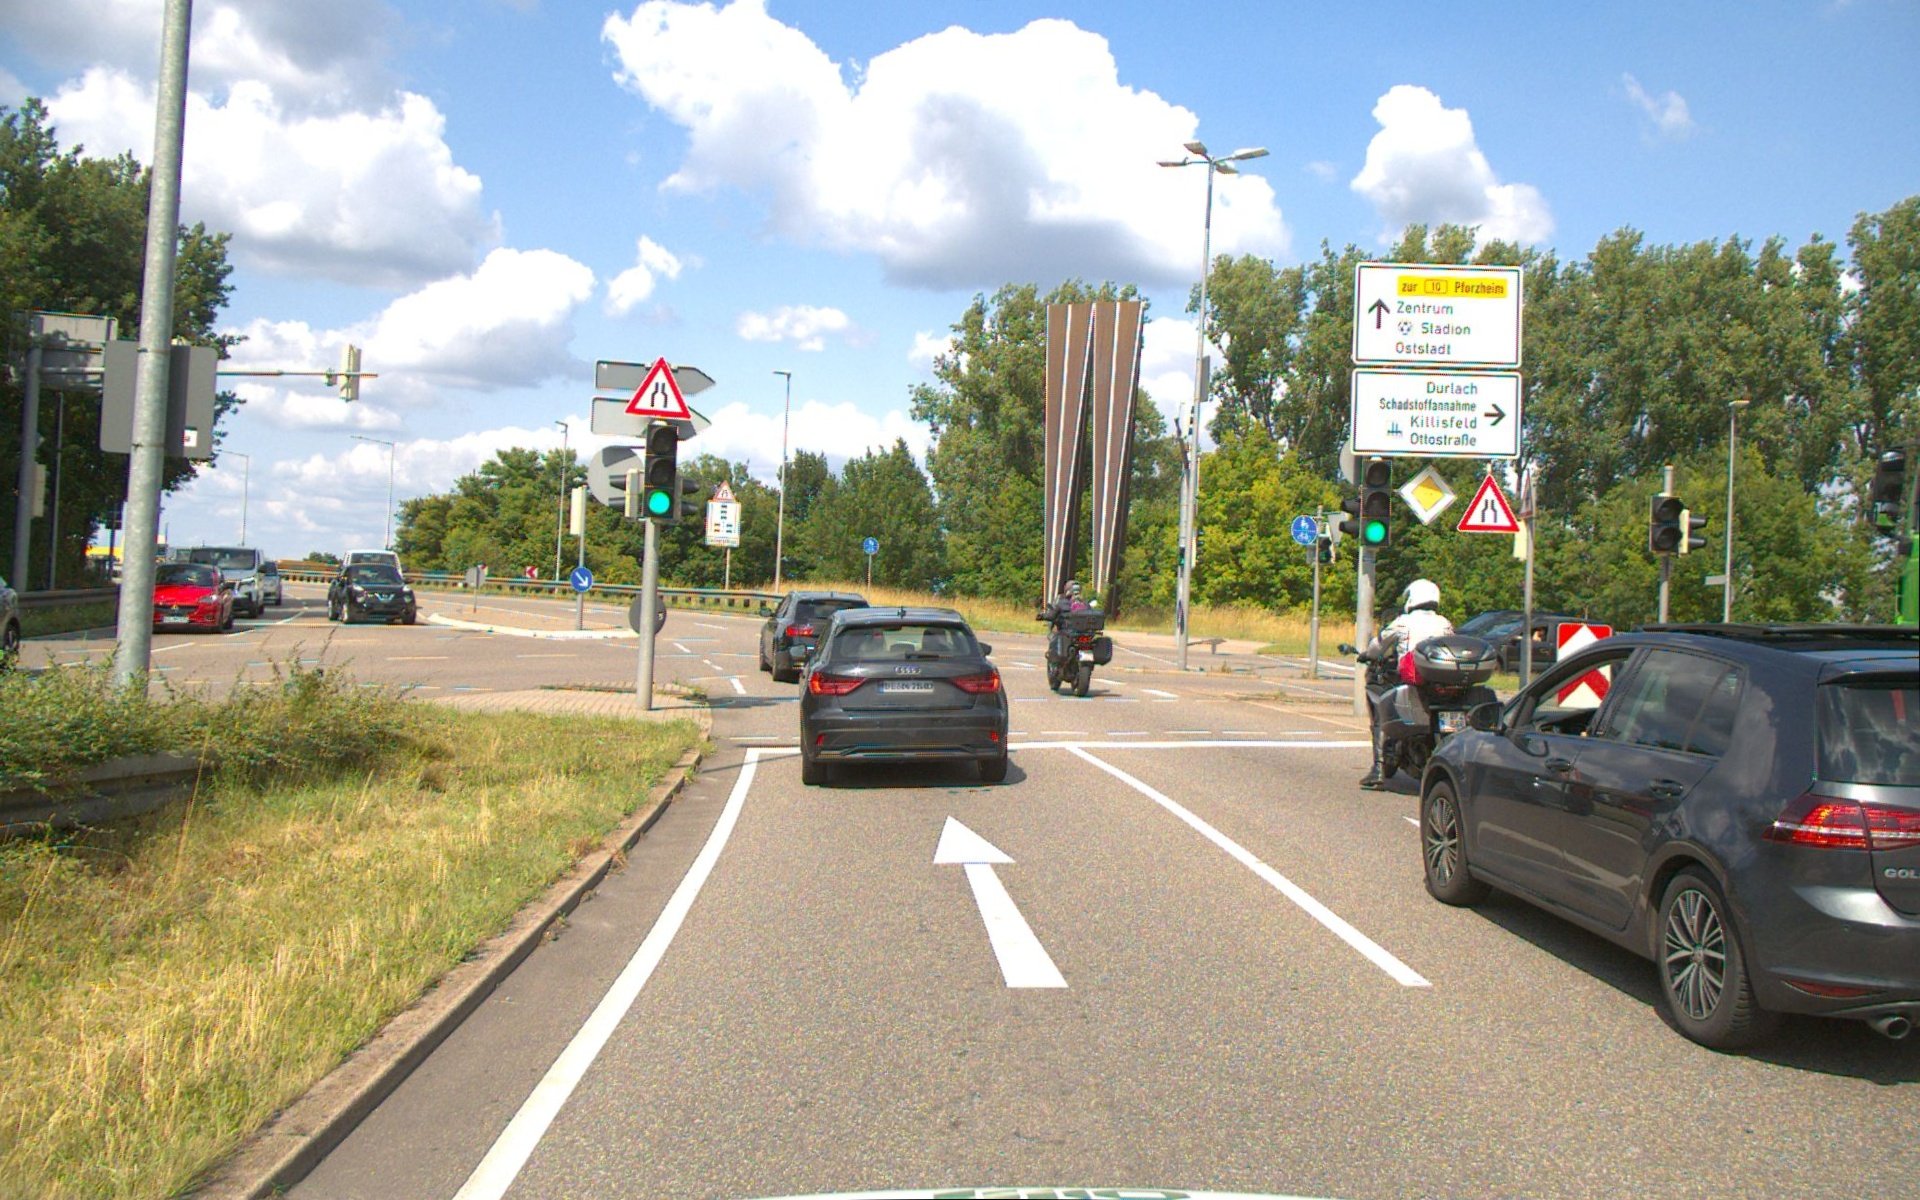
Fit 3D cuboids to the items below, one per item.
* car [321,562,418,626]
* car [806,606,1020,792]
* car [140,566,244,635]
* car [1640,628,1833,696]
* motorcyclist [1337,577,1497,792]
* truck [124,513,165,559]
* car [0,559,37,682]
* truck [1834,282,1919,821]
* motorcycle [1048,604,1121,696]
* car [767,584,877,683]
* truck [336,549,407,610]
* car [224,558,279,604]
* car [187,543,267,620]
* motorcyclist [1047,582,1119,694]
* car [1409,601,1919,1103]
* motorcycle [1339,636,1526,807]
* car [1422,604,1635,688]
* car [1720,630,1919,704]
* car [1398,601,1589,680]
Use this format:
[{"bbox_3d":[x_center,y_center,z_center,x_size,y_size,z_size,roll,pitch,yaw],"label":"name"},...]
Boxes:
[{"bbox_3d":[-15.741,-0.181,44.013,1.681,1.584,3.781,1,1,-32],"label":"car"},{"bbox_3d":[-0.375,0.776,14.693,1.647,1.412,3.739,0,0,0],"label":"car"},{"bbox_3d":[-17.052,-0.008,36.864,1.556,1.457,3.981,0,0,-17],"label":"car"},{"bbox_3d":[19.709,1.557,42.073,4.118,1.399,1.645,3,1,-3],"label":"car"},{"bbox_3d":[3.712,0.663,13.541,0.946,1.648,1.125,2,0,-1],"label":"motorcyclist"},{"bbox_3d":[-49.277,-3.850,100.020,1.967,2.666,6.059,0,2,-24],"label":"truck"},{"bbox_3d":[-13.229,0.277,20.742,1.680,1.613,4.269,0,0,-12],"label":"car"},{"bbox_3d":[8.193,-0.314,10.257,2.808,3.971,5.882,4,0,7],"label":"truck"},{"bbox_3d":[1.853,0.726,24.988,0.869,1.269,2.399,2,0,0],"label":"motorcycle"},{"bbox_3d":[-2.255,0.521,27.795,1.609,1.504,3.870,1,0,-2],"label":"car"},{"bbox_3d":[-20.377,-0.740,57.152,1.934,1.946,5.332,1,1,-23],"label":"truck"},{"bbox_3d":[-24.955,-0.678,58.288,1.709,1.547,4.039,0,1,-23],"label":"car"},{"bbox_3d":[-20.700,-0.501,46.699,1.968,2.049,5.095,0,0,-24],"label":"car"},{"bbox_3d":[1.848,0.559,25.004,0.946,1.624,1.125,2,0,-1],"label":"motorcyclist"},{"bbox_3d":[3.352,0.781,6.991,1.610,1.504,3.869,1,0,-4],"label":"car"},{"bbox_3d":[3.725,0.912,13.277,0.773,1.151,2.399,2,0,0],"label":"motorcycle"},{"bbox_3d":[13.027,1.049,38.041,4.196,1.645,1.844,3,-1,-3],"label":"car"},{"bbox_3d":[20.142,1.540,38.177,4.438,1.399,1.645,3,1,-3],"label":"car"},{"bbox_3d":[13.353,0.993,41.526,4.118,1.674,1.837,3,1,-3],"label":"car"}]
